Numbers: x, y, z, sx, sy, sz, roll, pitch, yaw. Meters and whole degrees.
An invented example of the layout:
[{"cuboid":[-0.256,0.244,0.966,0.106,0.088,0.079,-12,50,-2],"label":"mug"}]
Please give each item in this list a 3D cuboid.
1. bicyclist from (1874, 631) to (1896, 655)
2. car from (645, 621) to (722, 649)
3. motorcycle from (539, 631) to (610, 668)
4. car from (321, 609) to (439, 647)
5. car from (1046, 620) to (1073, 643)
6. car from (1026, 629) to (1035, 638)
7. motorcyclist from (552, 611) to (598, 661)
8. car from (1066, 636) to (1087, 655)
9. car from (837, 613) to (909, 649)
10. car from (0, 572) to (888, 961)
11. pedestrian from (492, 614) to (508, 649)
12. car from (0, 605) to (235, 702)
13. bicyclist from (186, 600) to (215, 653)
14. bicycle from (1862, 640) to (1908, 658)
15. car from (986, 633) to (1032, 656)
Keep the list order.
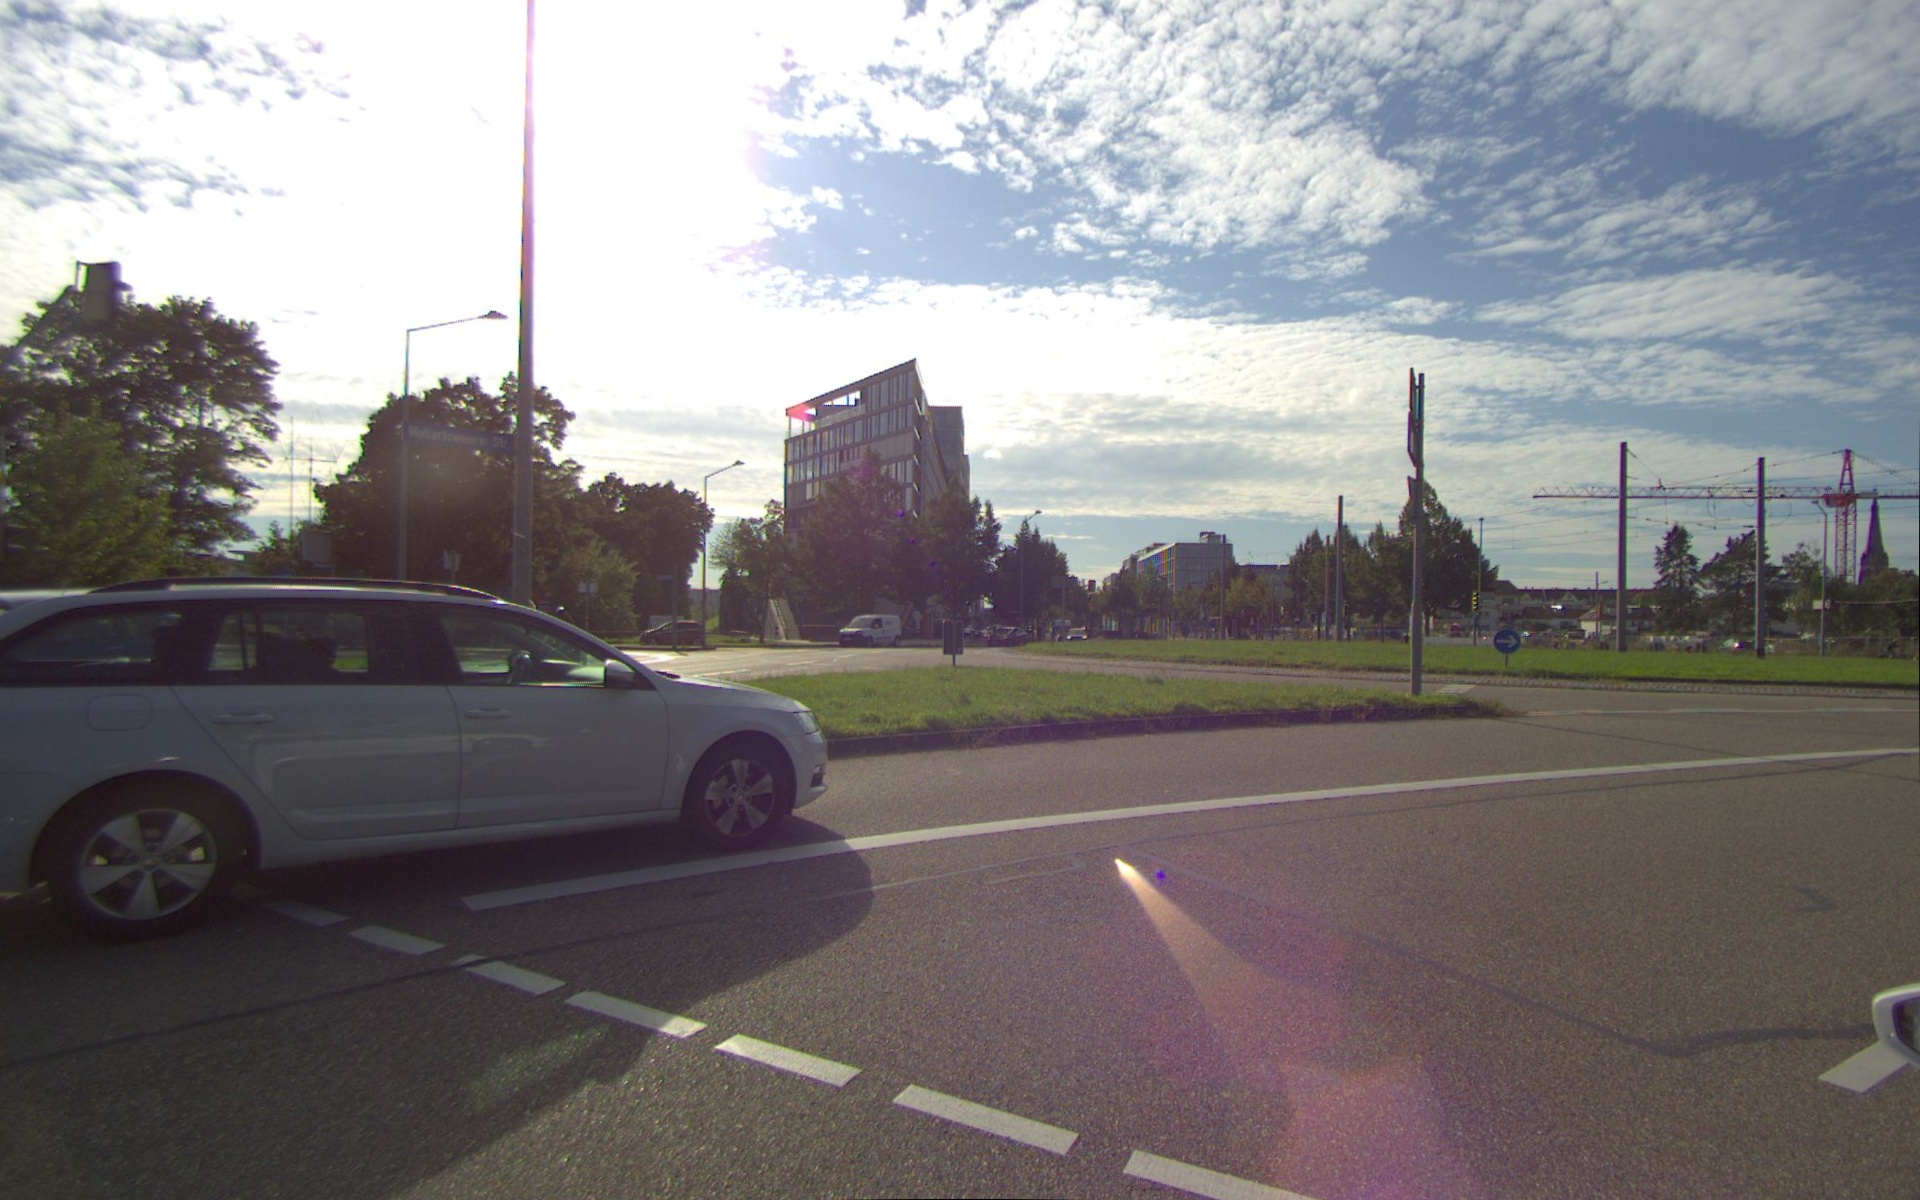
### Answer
[{"cuboid":[61.215,2.854,66.500,0.765,1.595,0.950,2,-2,-37],"label":"bicyclist"},{"cuboid":[-14.877,1.878,54.020,3.938,1.439,1.762,1,-1,-19],"label":"car"},{"cuboid":[-10.953,1.391,28.646,0.769,0.999,2.024,0,-1,18],"label":"motorcycle"},{"cuboid":[-24.430,1.167,42.428,3.918,1.521,1.684,1,-1,-5],"label":"car"},{"cuboid":[10.550,3.335,106.129,2.024,2.293,6.028,-1,-3,14],"label":"car"},{"cuboid":[15.959,7.588,227.124,1.960,2.040,4.001,1,-2,2],"label":"car"},{"cuboid":[-10.965,1.028,28.647,0.769,1.384,0.943,0,-1,18],"label":"motorcyclist"},{"cuboid":[9.926,3.888,85.442,1.651,1.521,3.997,-1,-2,7],"label":"car"},{"cuboid":[-4.735,1.713,55.277,1.656,1.848,4.552,-2,-3,31],"label":"car"},{"cuboid":[-2.825,0.678,5.591,4.599,1.464,1.836,2,-1,-39],"label":"car"},{"cuboid":[-21.568,1.483,47.107,0.497,1.646,0.547,1,-1,-10],"label":"pedestrian"},{"cuboid":[-15.140,0.907,17.275,1.750,1.521,3.991,-2,-3,25],"label":"car"},{"cuboid":[-21.377,0.744,28.280,0.605,1.465,0.691,1,-1,-35],"label":"bicyclist"},{"cuboid":[61.218,3.212,66.484,0.765,1.152,2.127,2,-2,-37],"label":"bicycle"},{"cuboid":[3.433,3.055,69.633,1.655,1.521,3.990,-2,-3,27],"label":"car"}]
